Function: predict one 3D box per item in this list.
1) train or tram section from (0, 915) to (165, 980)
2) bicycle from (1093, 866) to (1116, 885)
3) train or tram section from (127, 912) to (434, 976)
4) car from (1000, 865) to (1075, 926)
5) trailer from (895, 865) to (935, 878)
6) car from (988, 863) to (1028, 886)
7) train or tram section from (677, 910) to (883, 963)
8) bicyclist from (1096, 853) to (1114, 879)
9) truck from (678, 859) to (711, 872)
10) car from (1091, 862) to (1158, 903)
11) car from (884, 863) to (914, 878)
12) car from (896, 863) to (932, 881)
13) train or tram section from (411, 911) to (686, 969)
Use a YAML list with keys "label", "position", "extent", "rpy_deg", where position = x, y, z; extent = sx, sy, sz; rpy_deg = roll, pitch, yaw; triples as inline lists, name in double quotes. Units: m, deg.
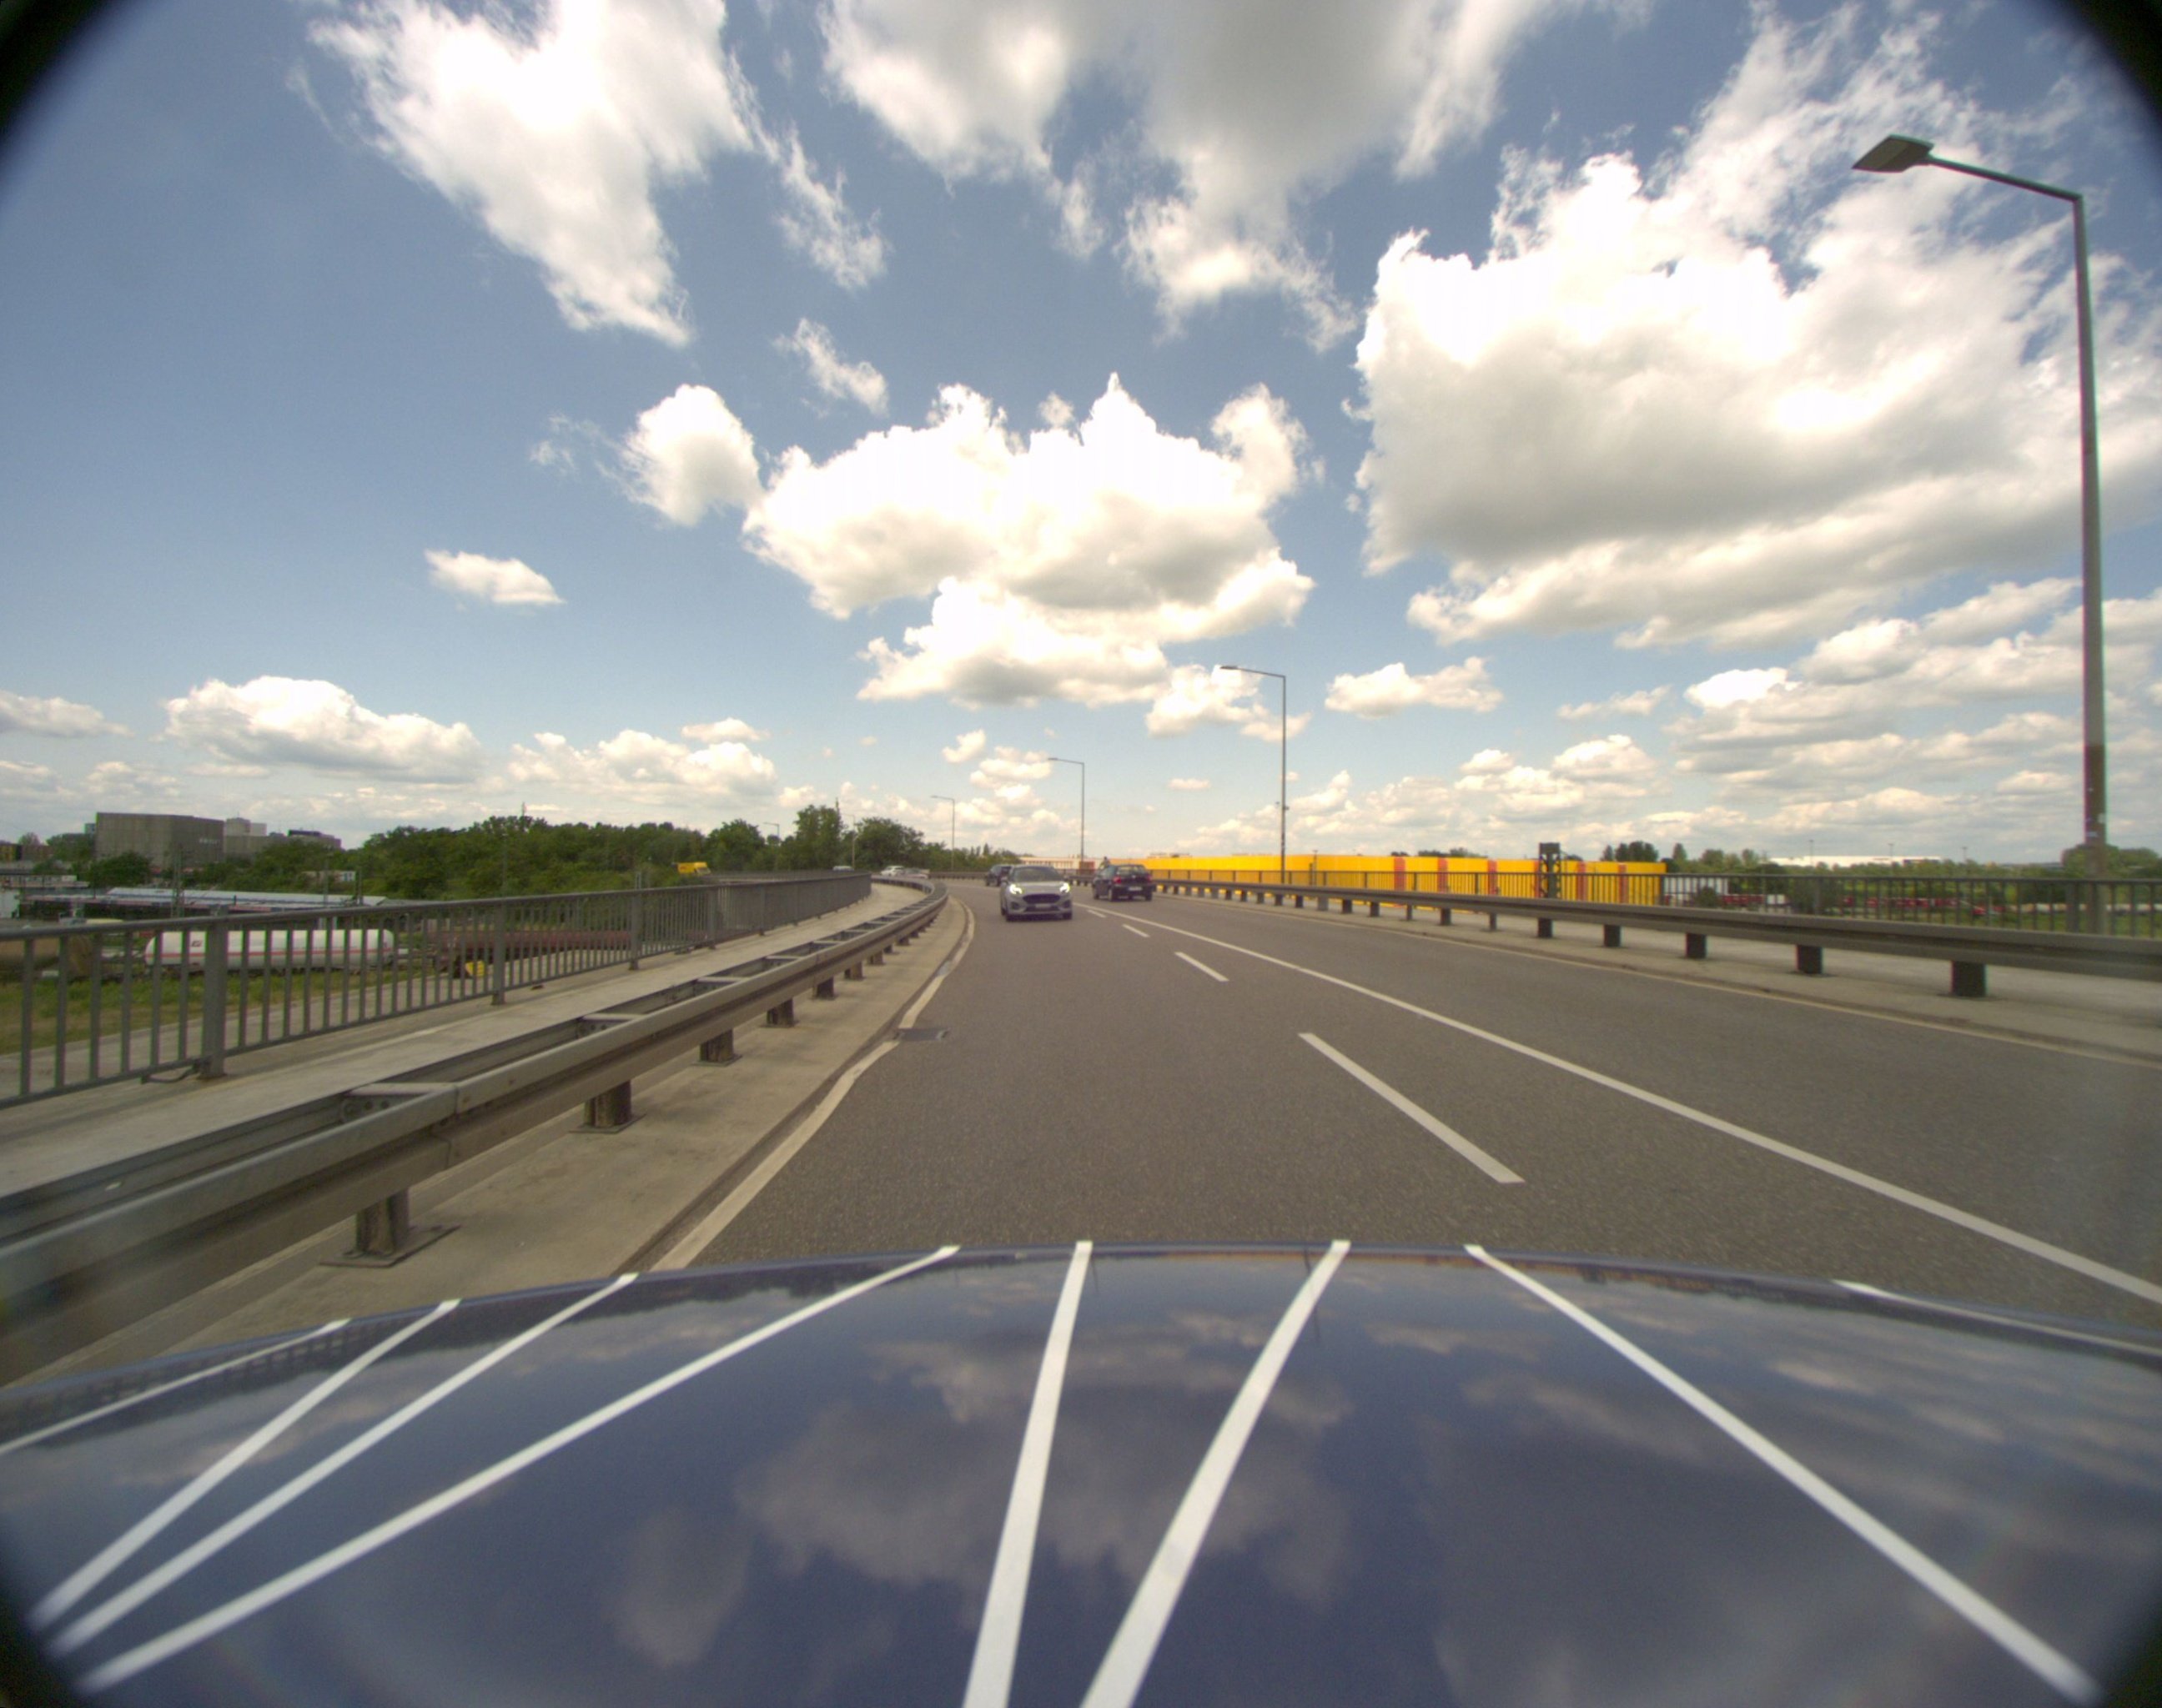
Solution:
- label: "train or tram section"
  position: [-77.821, 6.623, 53.670]
  extent: [17.711, 4.130, 3.206]
  rpy_deg: [1, 2, -18]
- label: "bicycle"
  position: [1.415, 1.282, 46.294]
  extent: [0.772, 1.088, 2.112]
  rpy_deg: [-1, 0, -17]
- label: "train or tram section"
  position: [-61.165, 6.806, 58.793]
  extent: [16.976, 4.130, 3.212]
  rpy_deg: [1, 2, -16]
- label: "car"
  position: [-1.344, 1.102, 21.892]
  extent: [1.829, 1.516, 3.998]
  rpy_deg: [-2, 0, -7]
- label: "trailer"
  position: [-16.217, 1.670, 74.155]
  extent: [2.055, 1.202, 5.969]
  rpy_deg: [-1, 0, -30]
- label: "car"
  position: [-4.961, 1.373, 51.293]
  extent: [1.824, 1.442, 4.731]
  rpy_deg: [-1, -1, -16]
- label: "train or tram section"
  position: [-26.256, 7.289, 67.087]
  extent: [16.607, 4.130, 3.137]
  rpy_deg: [1, 2, -7]
- label: "bicyclist"
  position: [1.453, 0.732, 46.141]
  extent: [0.770, 1.593, 0.946]
  rpy_deg: [-1, 0, -17]
- label: "truck"
  position: [-59.335, 1.750, 116.648]
  extent: [6.127, 2.002, 2.004]
  rpy_deg: [0, 0, 36]
- label: "car"
  position: [1.626, 1.052, 29.905]
  extent: [1.820, 1.443, 3.923]
  rpy_deg: [-2, 0, -9]
- label: "car"
  position: [-18.893, 1.688, 78.576]
  extent: [1.815, 1.526, 4.339]
  rpy_deg: [-1, 0, -30]
- label: "car"
  position: [-13.271, 1.408, 60.143]
  extent: [1.832, 1.330, 3.991]
  rpy_deg: [0, 0, -27]
- label: "train or tram section"
  position: [-43.766, 7.022, 63.475]
  extent: [18.909, 4.130, 3.215]
  rpy_deg: [1, 2, -14]
